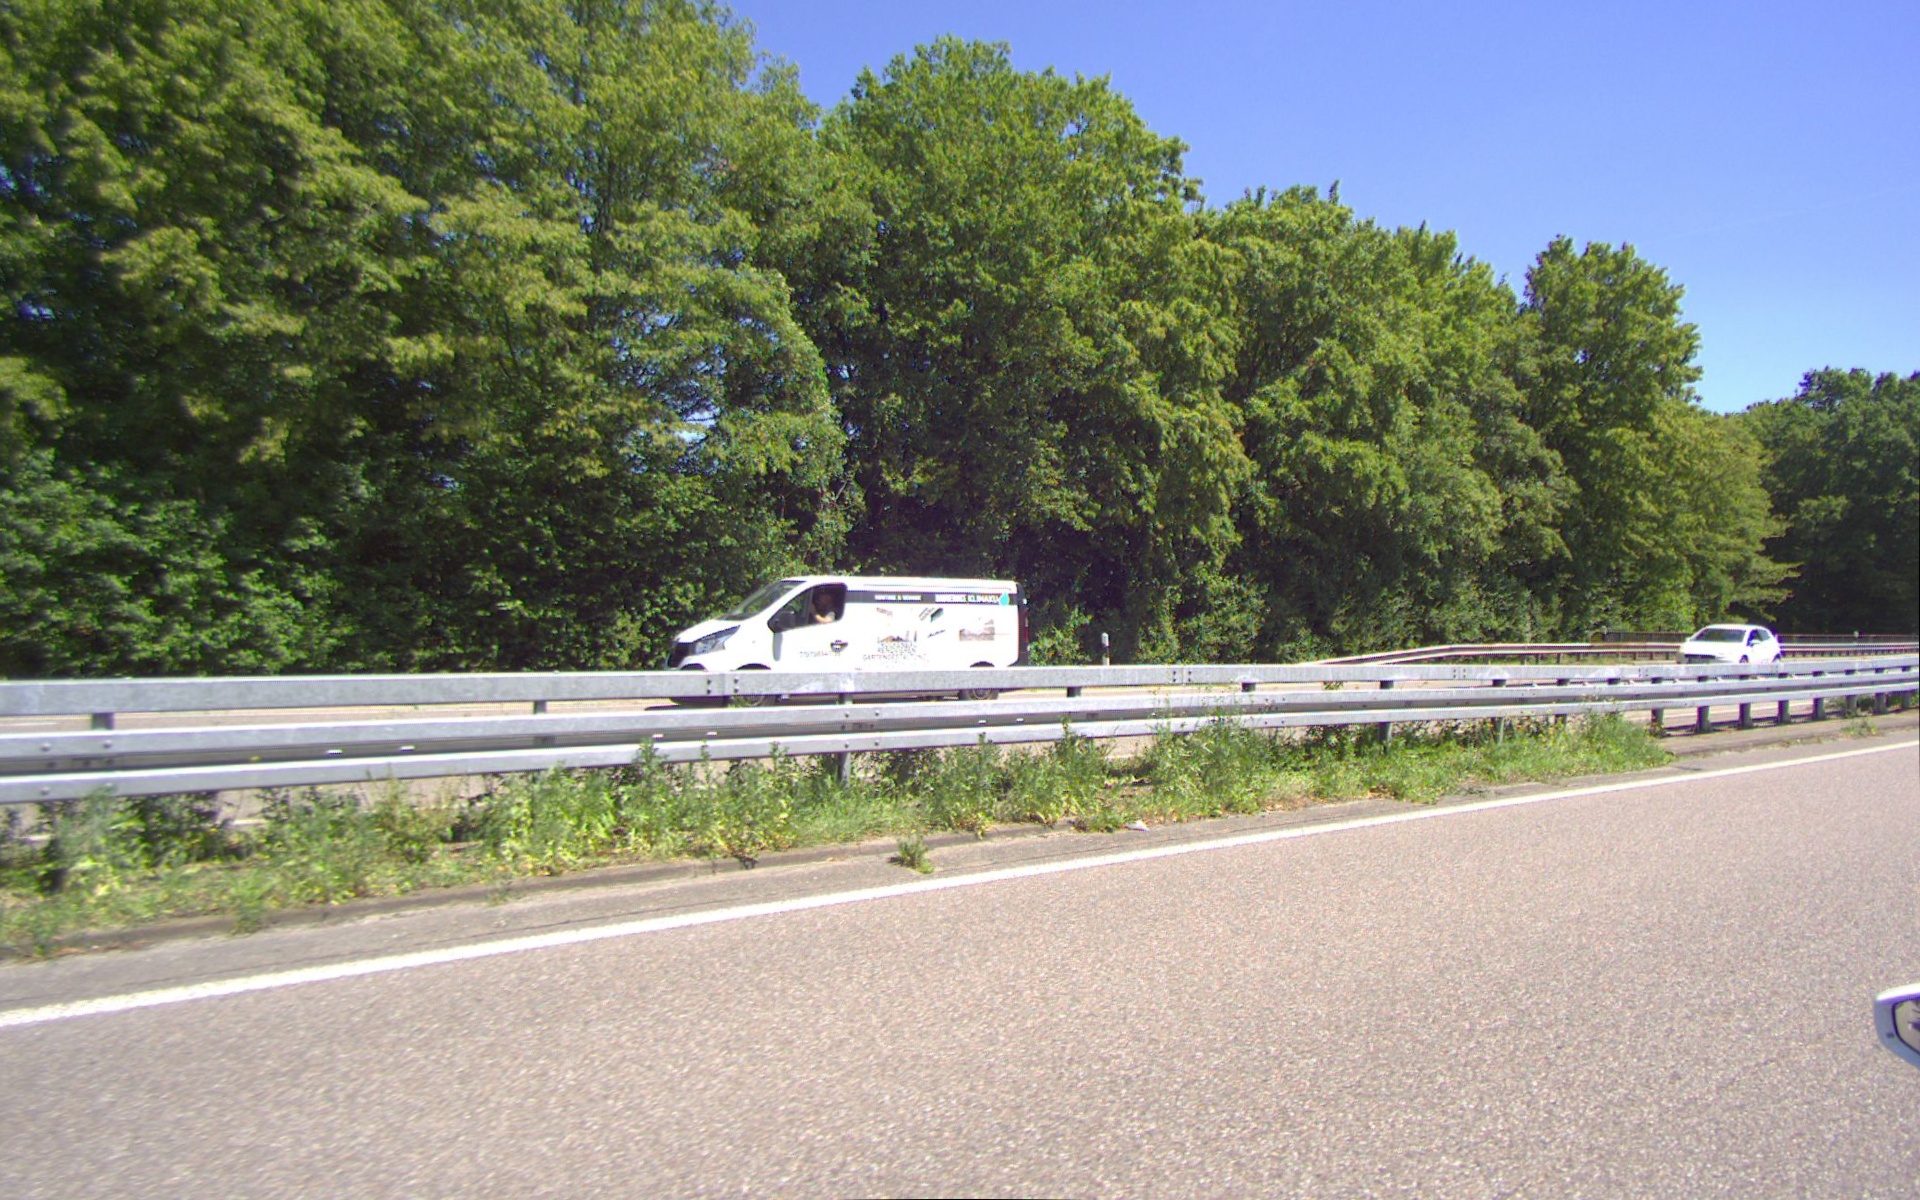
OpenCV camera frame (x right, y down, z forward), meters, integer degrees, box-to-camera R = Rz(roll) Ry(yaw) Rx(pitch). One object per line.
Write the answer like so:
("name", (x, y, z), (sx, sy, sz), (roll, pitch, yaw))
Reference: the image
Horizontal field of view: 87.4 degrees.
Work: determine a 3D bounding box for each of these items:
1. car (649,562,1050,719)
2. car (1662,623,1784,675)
("car", (-1.545, 0.571, 14.867), (5.571, 1.977, 1.981), (1, -1, -29))
("car", (23.370, 1.469, 30.725), (4.173, 1.466, 1.642), (1, -1, -32))
